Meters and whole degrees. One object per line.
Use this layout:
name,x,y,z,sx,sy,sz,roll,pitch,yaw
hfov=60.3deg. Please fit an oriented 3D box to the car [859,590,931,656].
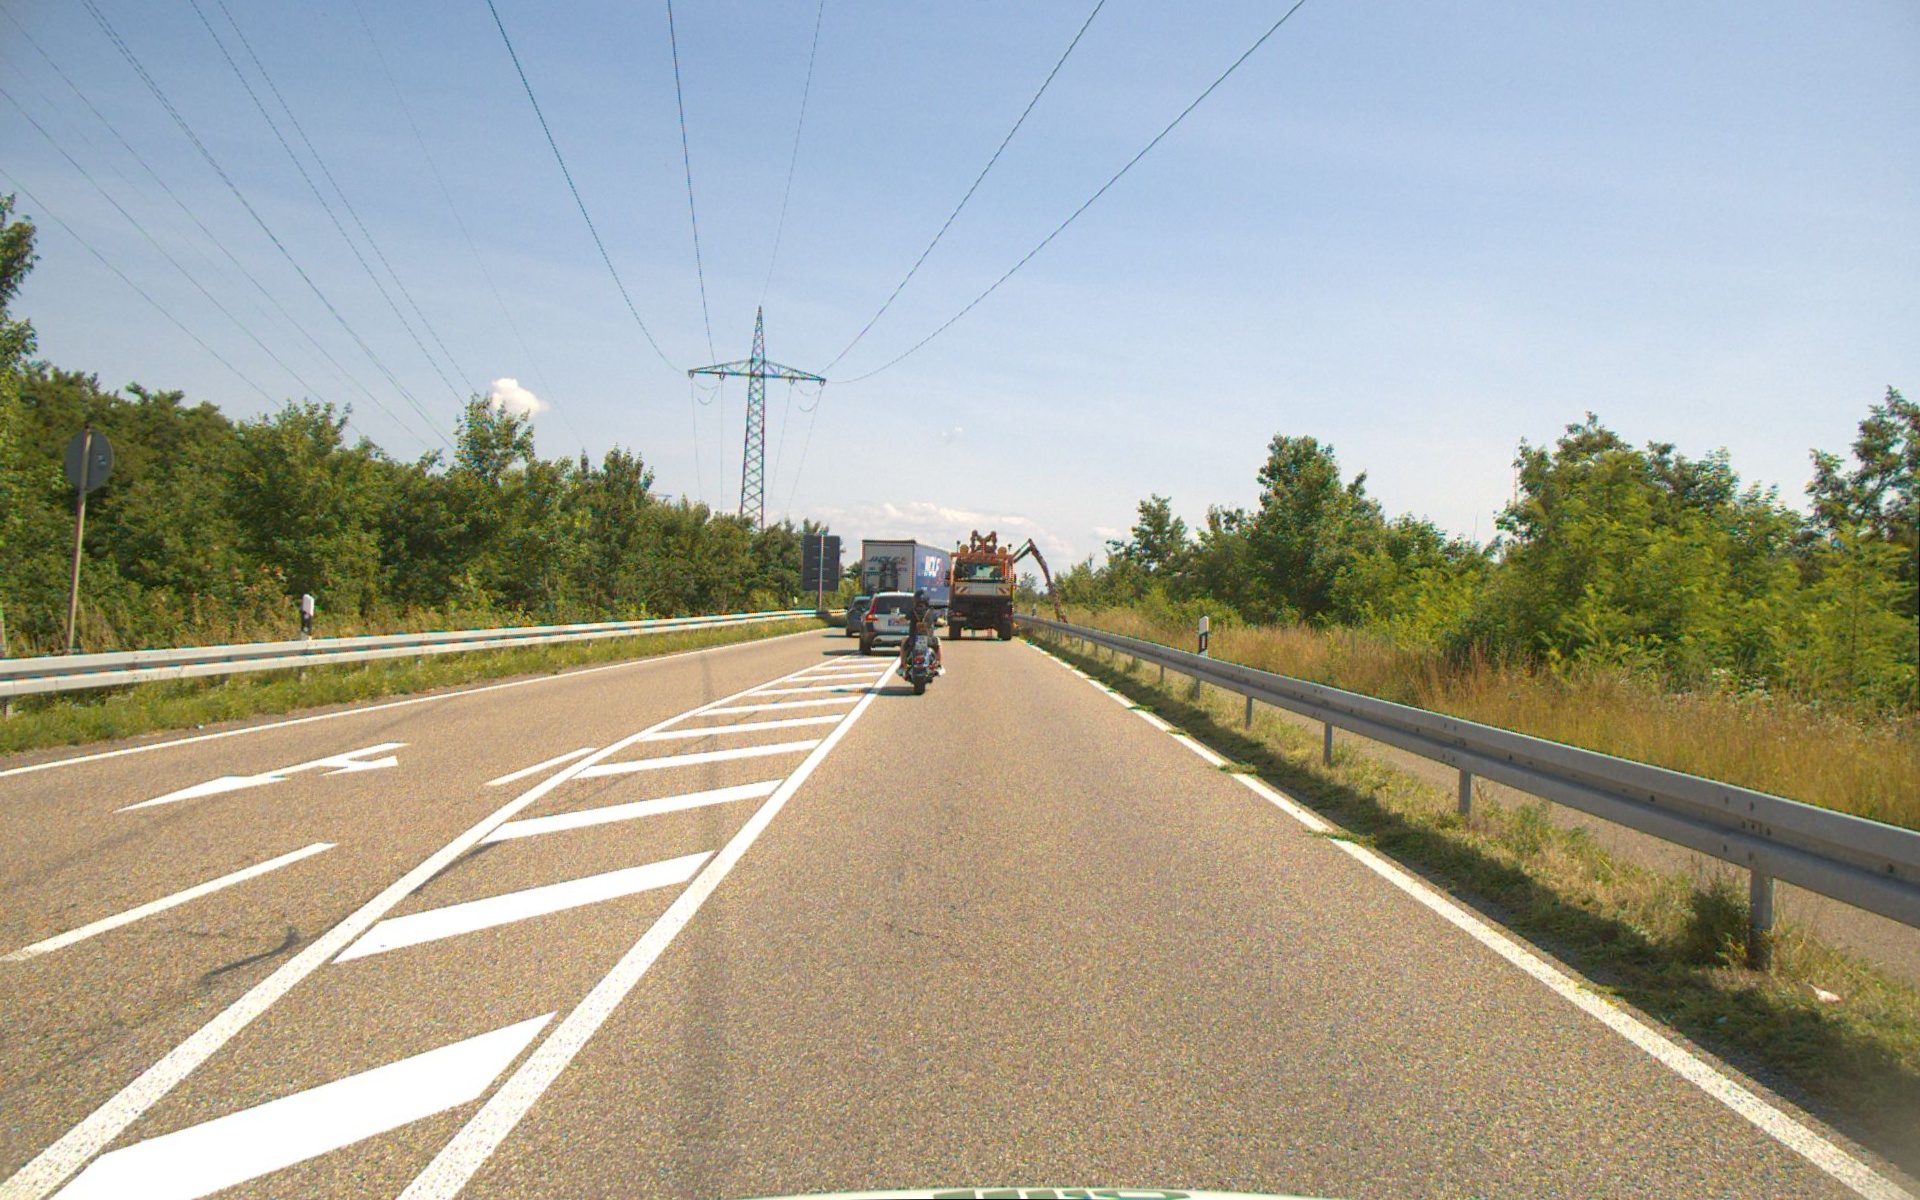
car,-1.693,0.550,42.077,1.667,1.563,3.496,1,0,-5

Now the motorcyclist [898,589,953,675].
motorcyclist,-0.543,0.486,25.767,0.820,1.303,0.919,1,0,-2

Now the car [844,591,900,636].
car,-3.118,0.456,59.254,1.817,1.516,3.740,1,1,-1

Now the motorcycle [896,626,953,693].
motorcycle,-0.556,0.905,25.626,0.841,0.931,2.227,1,0,-2

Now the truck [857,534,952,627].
truck,-2.605,-0.917,83.516,2.905,4.260,14.831,1,0,5

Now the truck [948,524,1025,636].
truck,0.934,-0.704,60.279,2.560,3.776,6.777,1,0,0
